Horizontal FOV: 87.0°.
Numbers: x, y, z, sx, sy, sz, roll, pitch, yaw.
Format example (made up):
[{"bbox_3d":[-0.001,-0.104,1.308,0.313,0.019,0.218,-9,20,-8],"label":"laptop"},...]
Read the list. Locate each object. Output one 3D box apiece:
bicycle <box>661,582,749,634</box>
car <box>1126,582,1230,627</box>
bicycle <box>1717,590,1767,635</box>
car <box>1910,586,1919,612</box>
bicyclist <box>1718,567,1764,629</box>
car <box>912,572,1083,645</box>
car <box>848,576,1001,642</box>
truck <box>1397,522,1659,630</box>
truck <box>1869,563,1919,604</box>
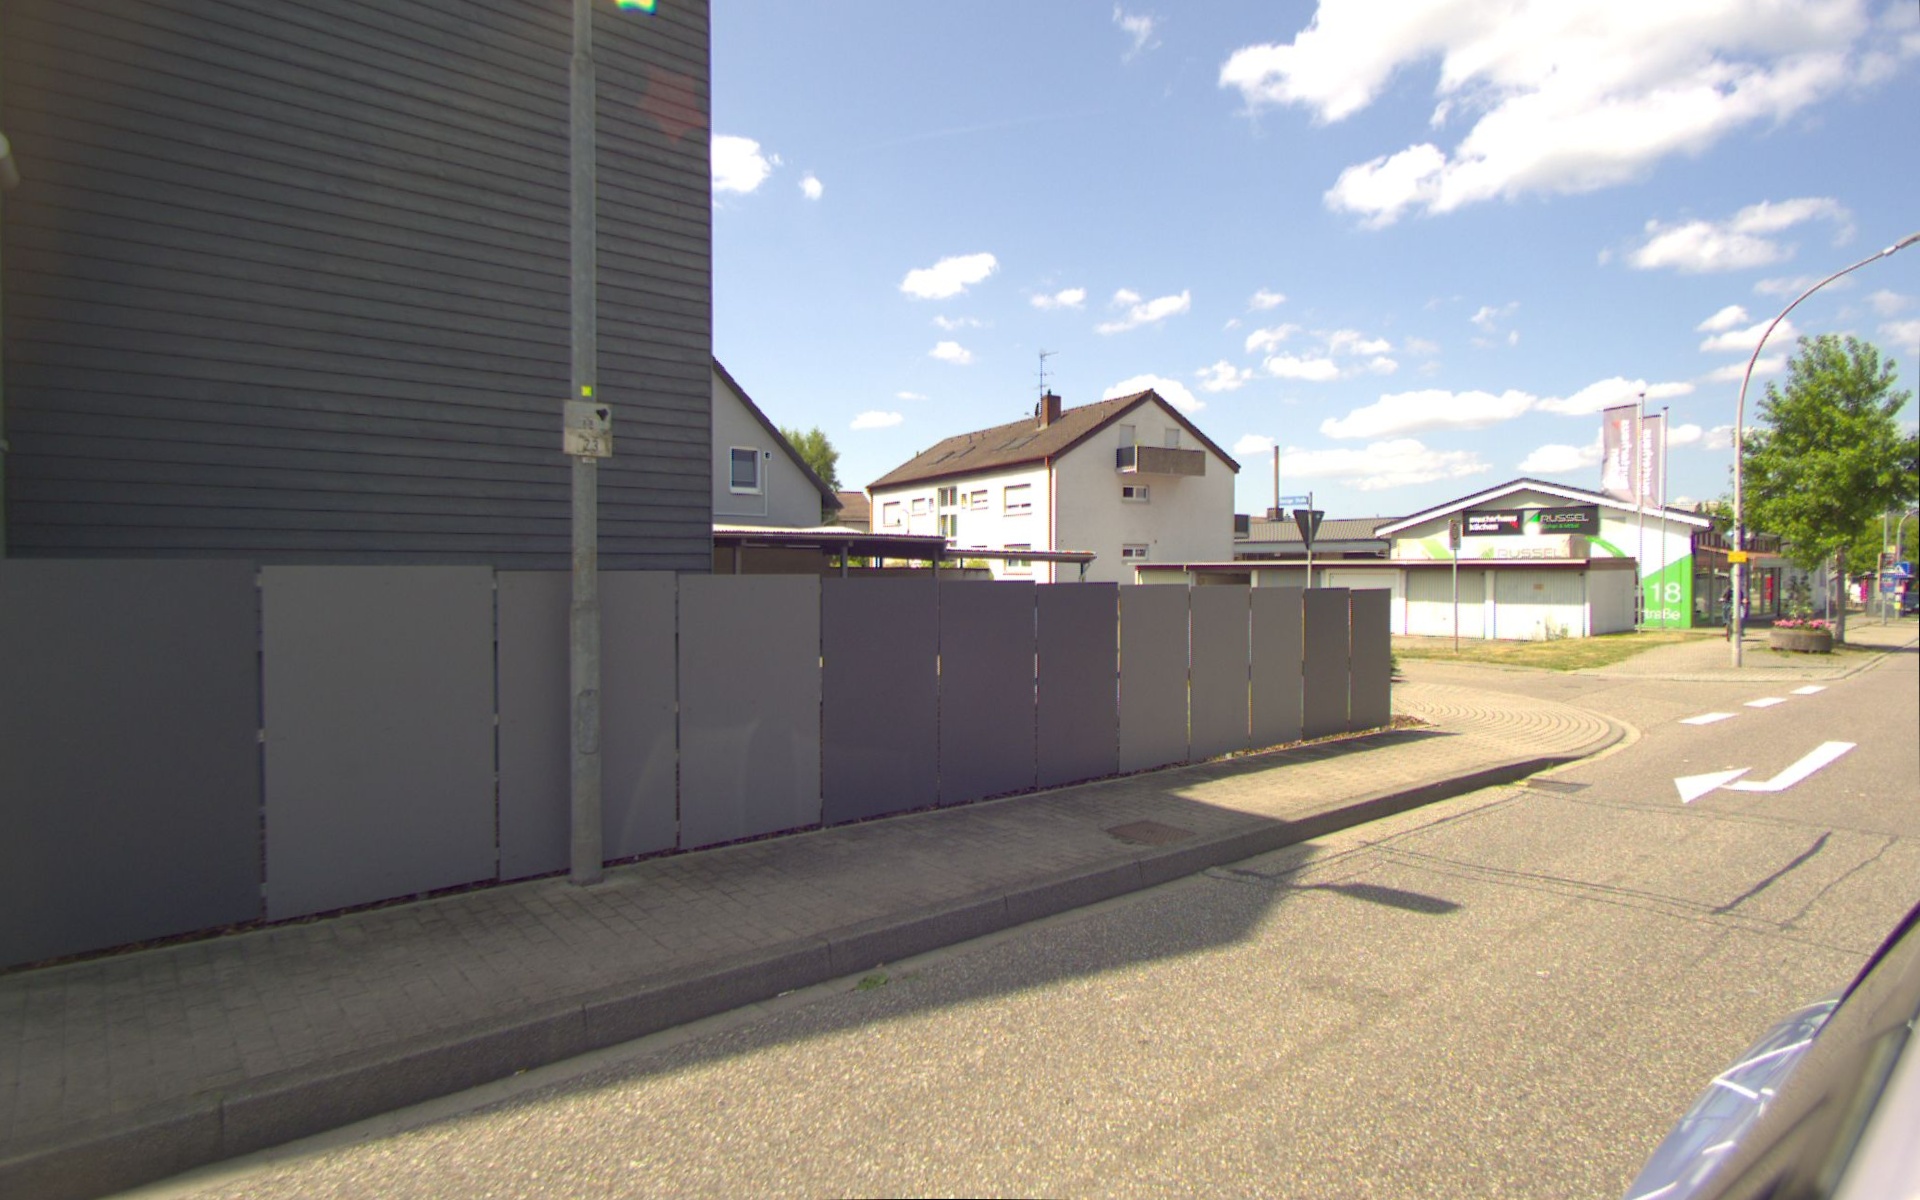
[{"bbox_3d":[-6.037,0.192,24.014,1.917,1.187,0.649,2,0,-39],"label":"bicycle"},{"bbox_3d":[7.945,0.123,36.702,4.061,1.522,1.678,-1,1,-42],"label":"car"},{"bbox_3d":[21.642,0.342,27.991,1.911,1.180,0.803,0,-3,-45],"label":"bicycle"},{"bbox_3d":[58.899,-0.062,61.340,3.698,1.511,1.727,-1,3,-44],"label":"car"},{"bbox_3d":[21.593,-0.037,27.969,1.093,1.651,0.803,1,-3,-44],"label":"bicyclist"},{"bbox_3d":[1.003,0.222,25.207,4.140,1.669,1.740,2,0,-40],"label":"car"},{"bbox_3d":[-0.904,0.247,27.024,3.784,1.607,1.740,2,0,-40],"label":"car"},{"bbox_3d":[21.053,-0.879,38.008,2.633,3.617,8.179,-2,2,-43],"label":"truck"},{"bbox_3d":[67.803,-1.242,73.372,2.570,2.795,6.242,3,3,41],"label":"truck"}]
